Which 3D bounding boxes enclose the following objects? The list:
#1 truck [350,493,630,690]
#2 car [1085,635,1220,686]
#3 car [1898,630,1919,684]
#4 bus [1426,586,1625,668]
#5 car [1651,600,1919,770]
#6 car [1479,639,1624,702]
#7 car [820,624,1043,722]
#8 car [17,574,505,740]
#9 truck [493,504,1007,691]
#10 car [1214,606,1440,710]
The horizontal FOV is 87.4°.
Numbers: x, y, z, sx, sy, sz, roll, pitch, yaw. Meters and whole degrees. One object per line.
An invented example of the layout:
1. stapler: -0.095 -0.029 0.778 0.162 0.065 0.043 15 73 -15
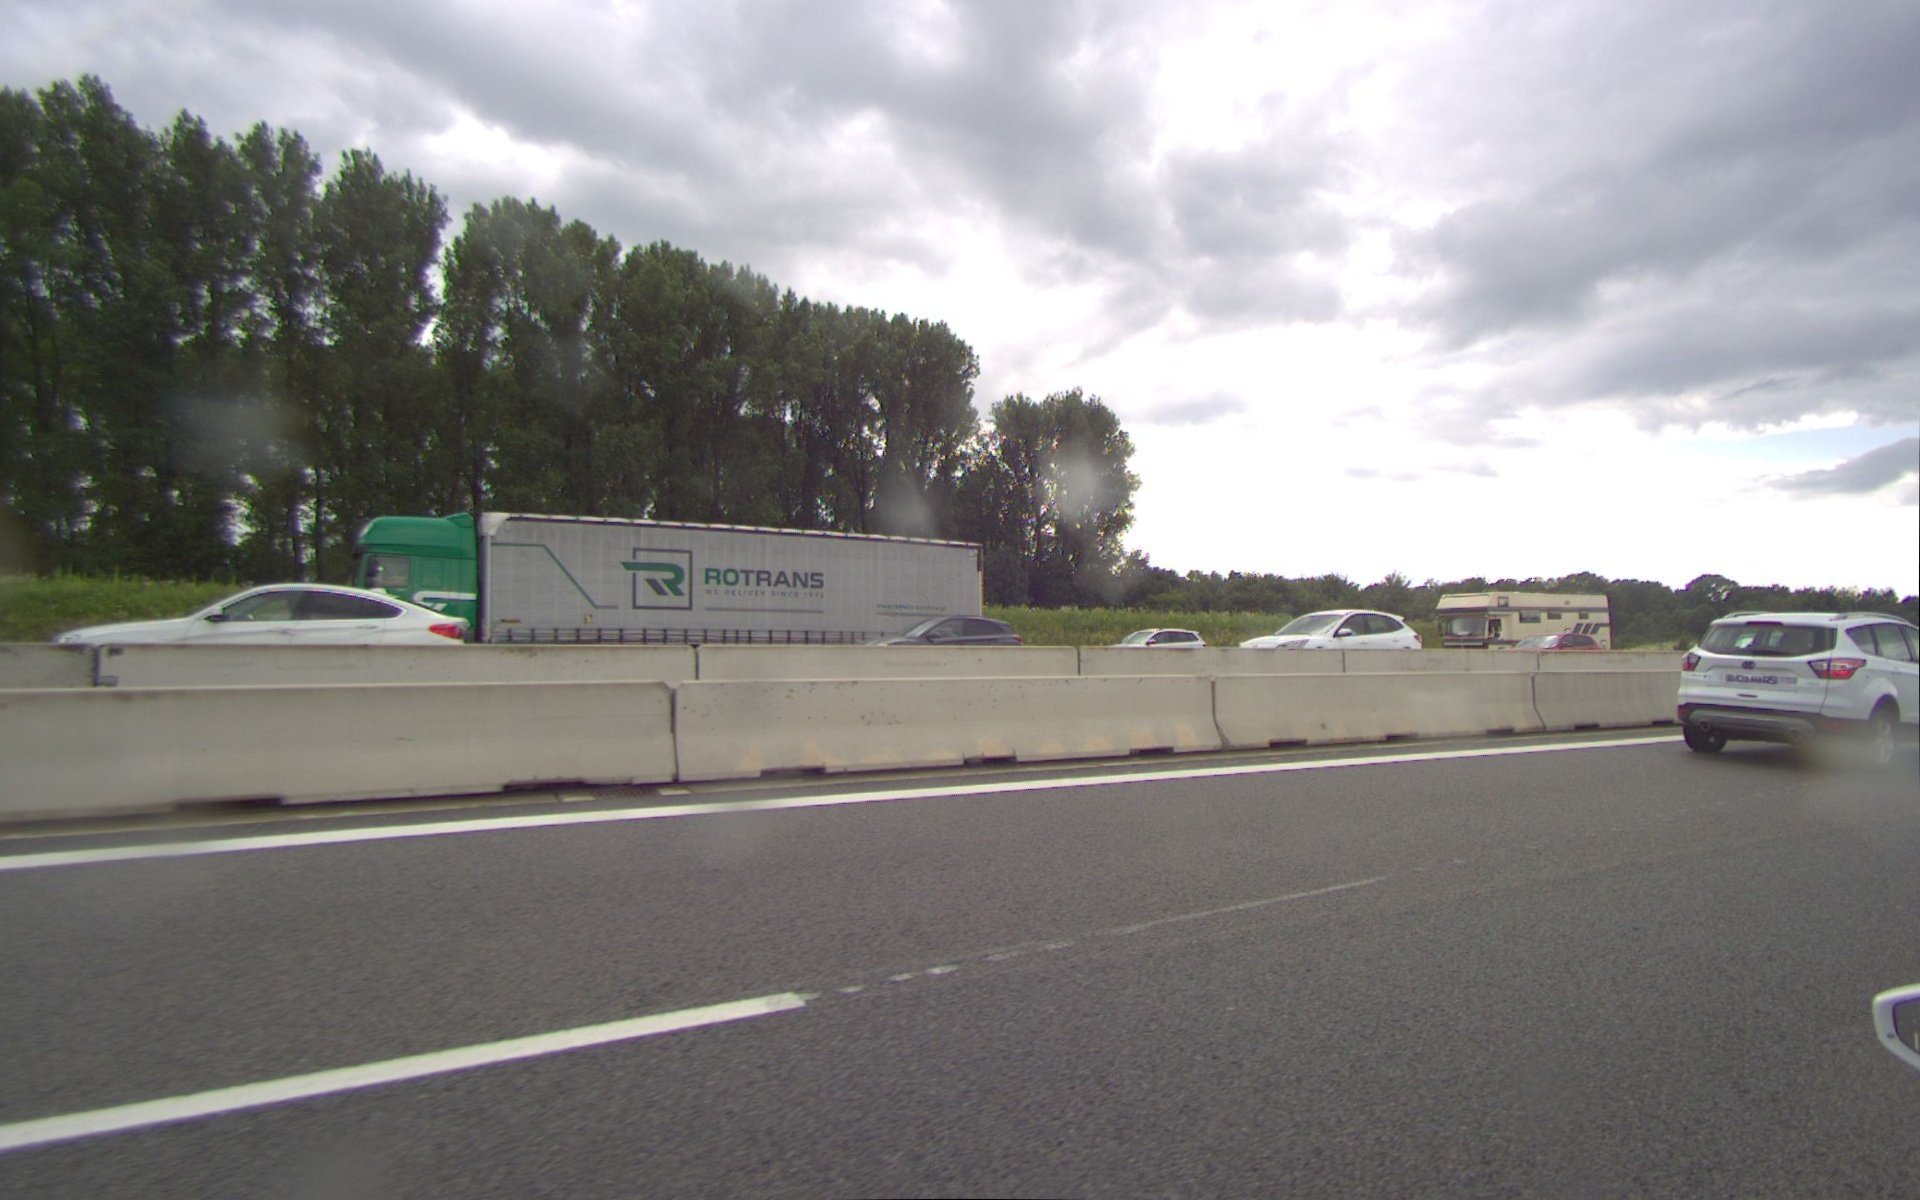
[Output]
1. truck: -11.483 -0.098 24.826 5.837 4.338 3.106 2 -1 -28
2. car: 6.691 2.070 34.874 4.349 1.639 1.984 2 -1 -30
3. car: 38.718 2.235 38.946 5.119 2.040 1.985 2 -1 -29
4. bus: 25.355 1.226 44.834 9.837 3.377 2.820 2 -1 -28
5. car: 10.592 0.909 12.062 4.791 1.712 1.808 1 -1 -28
6. car: 19.261 2.236 32.680 4.581 1.853 1.985 2 -1 -29
7. car: -0.607 1.580 22.496 4.581 1.959 1.985 2 -1 -29
8. car: -8.918 0.706 13.455 5.015 1.877 1.985 1 -1 -28
9. truck: -5.407 0.118 28.202 13.779 4.370 3.135 2 -1 -29
10. car: 8.019 1.209 21.865 4.704 2.040 1.985 2 -1 -28
